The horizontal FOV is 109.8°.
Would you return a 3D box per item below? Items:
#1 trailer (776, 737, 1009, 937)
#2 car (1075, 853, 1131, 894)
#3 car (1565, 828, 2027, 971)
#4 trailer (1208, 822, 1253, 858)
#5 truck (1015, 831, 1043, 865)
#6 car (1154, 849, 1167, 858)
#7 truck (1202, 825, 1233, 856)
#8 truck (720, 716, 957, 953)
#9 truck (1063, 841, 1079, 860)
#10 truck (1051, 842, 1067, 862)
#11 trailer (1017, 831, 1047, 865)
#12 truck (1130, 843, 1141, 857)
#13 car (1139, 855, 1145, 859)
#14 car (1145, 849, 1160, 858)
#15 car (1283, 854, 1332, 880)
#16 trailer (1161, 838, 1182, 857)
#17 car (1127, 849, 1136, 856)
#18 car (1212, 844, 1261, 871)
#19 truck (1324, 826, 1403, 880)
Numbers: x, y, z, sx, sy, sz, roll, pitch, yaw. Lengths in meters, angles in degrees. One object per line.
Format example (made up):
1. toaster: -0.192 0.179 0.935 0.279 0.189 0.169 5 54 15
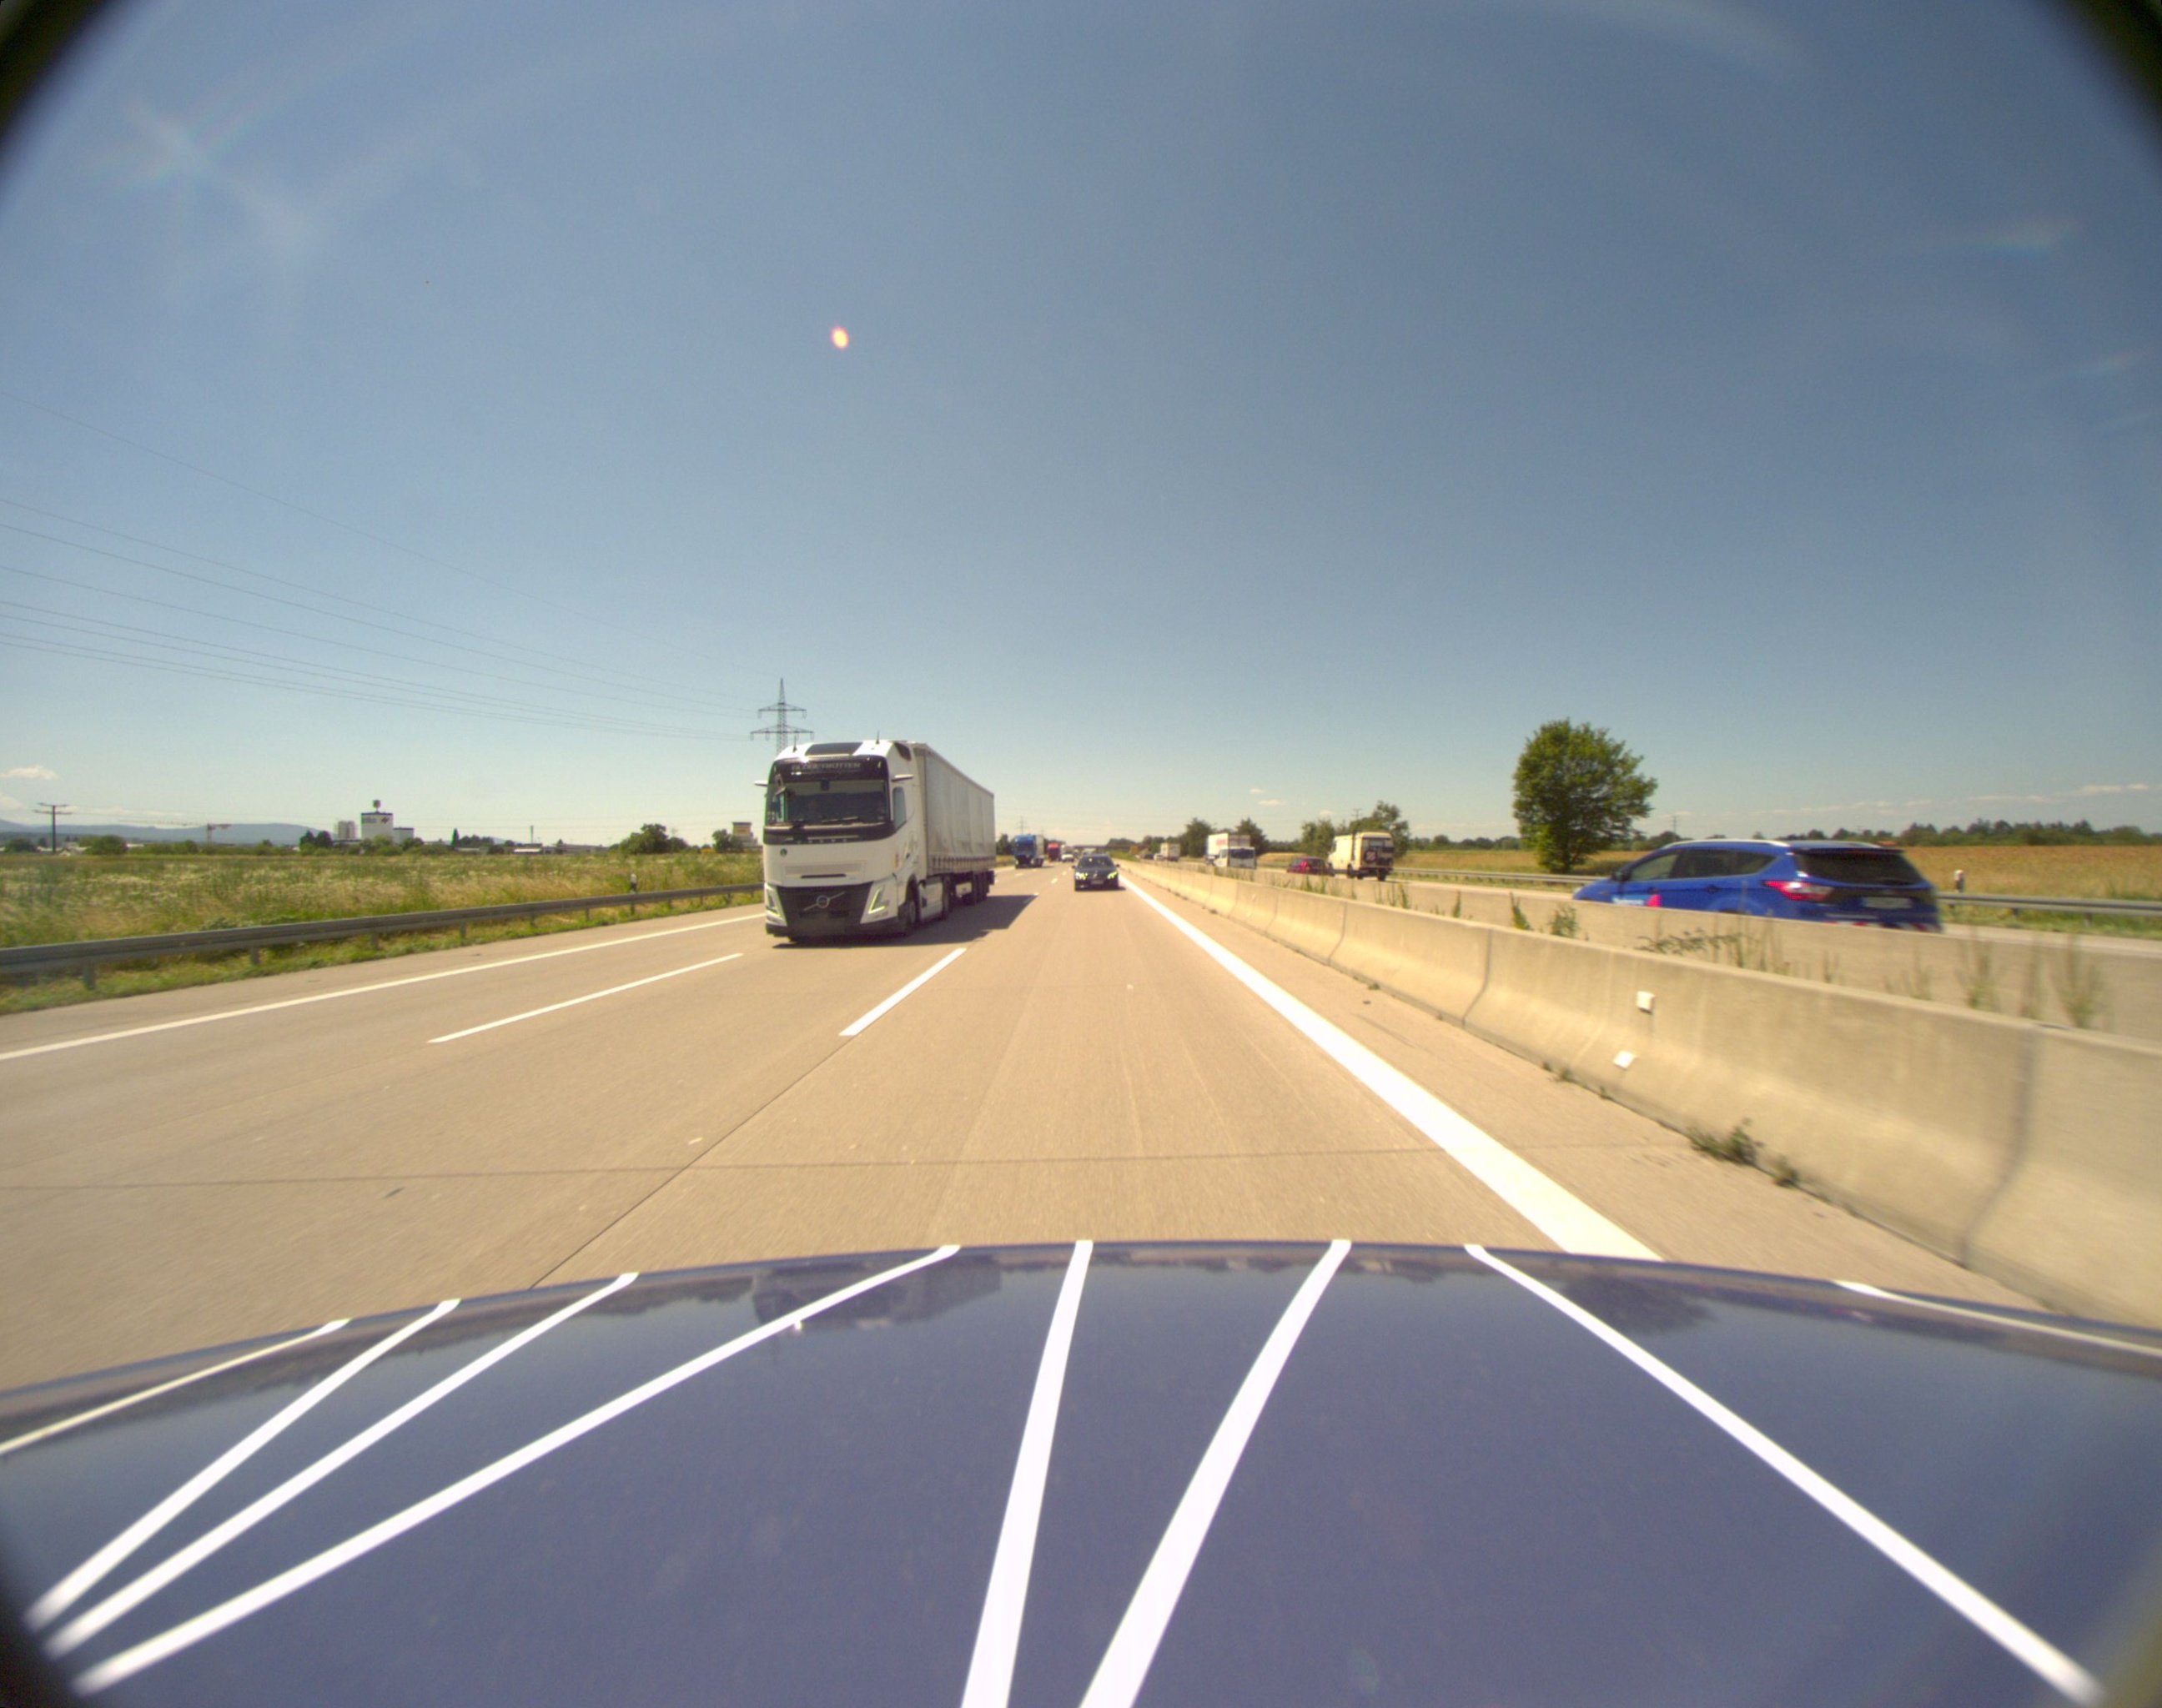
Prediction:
1. trailer: -4.586 -0.384 22.890 3.025 4.037 14.206 -2 0 1
2. car: 0.791 0.698 30.299 1.998 1.462 6.347 0 0 0
3. car: 8.684 0.456 9.940 1.784 1.340 4.452 -4 0 0
4. trailer: 17.810 -1.615 91.609 2.916 3.886 12.510 -2 0 1
5. truck: -6.379 -0.719 93.118 2.757 4.020 5.466 -2 0 1
6. car: 15.102 -0.070 144.904 1.998 1.574 4.370 5 0 0
7. truck: 17.813 -1.688 99.481 2.904 3.841 5.684 -2 0 1
8. truck: -4.713 -0.345 16.106 2.992 4.039 5.477 -2 0 1
9. truck: -1.895 -0.695 146.999 2.784 3.328 7.812 -2 0 1
10. truck: -4.984 -0.516 173.614 2.855 4.297 10.886 -2 0 1
11. trailer: -6.283 -0.752 99.810 2.715 4.020 12.902 -2 0 1
12. truck: 15.909 -1.175 223.155 2.750 4.056 5.540 -2 0 1
13. car: 14.977 0.703 186.647 1.306 1.056 2.898 -2 0 1
14. car: 11.392 -0.149 121.196 1.903 1.318 5.069 -2 0 1
15. car: 13.522 0.720 45.650 1.692 1.451 4.487 0 0 1
16. trailer: 19.392 -1.394 162.990 2.777 3.780 13.828 -2 0 1
17. car: 11.036 -0.370 165.120 1.731 1.476 4.117 -2 0 1
18. car: 10.043 0.212 49.595 2.144 1.669 5.644 0 0 1
19. truck: 17.594 -0.077 47.817 2.328 3.066 6.977 -2 0 1
